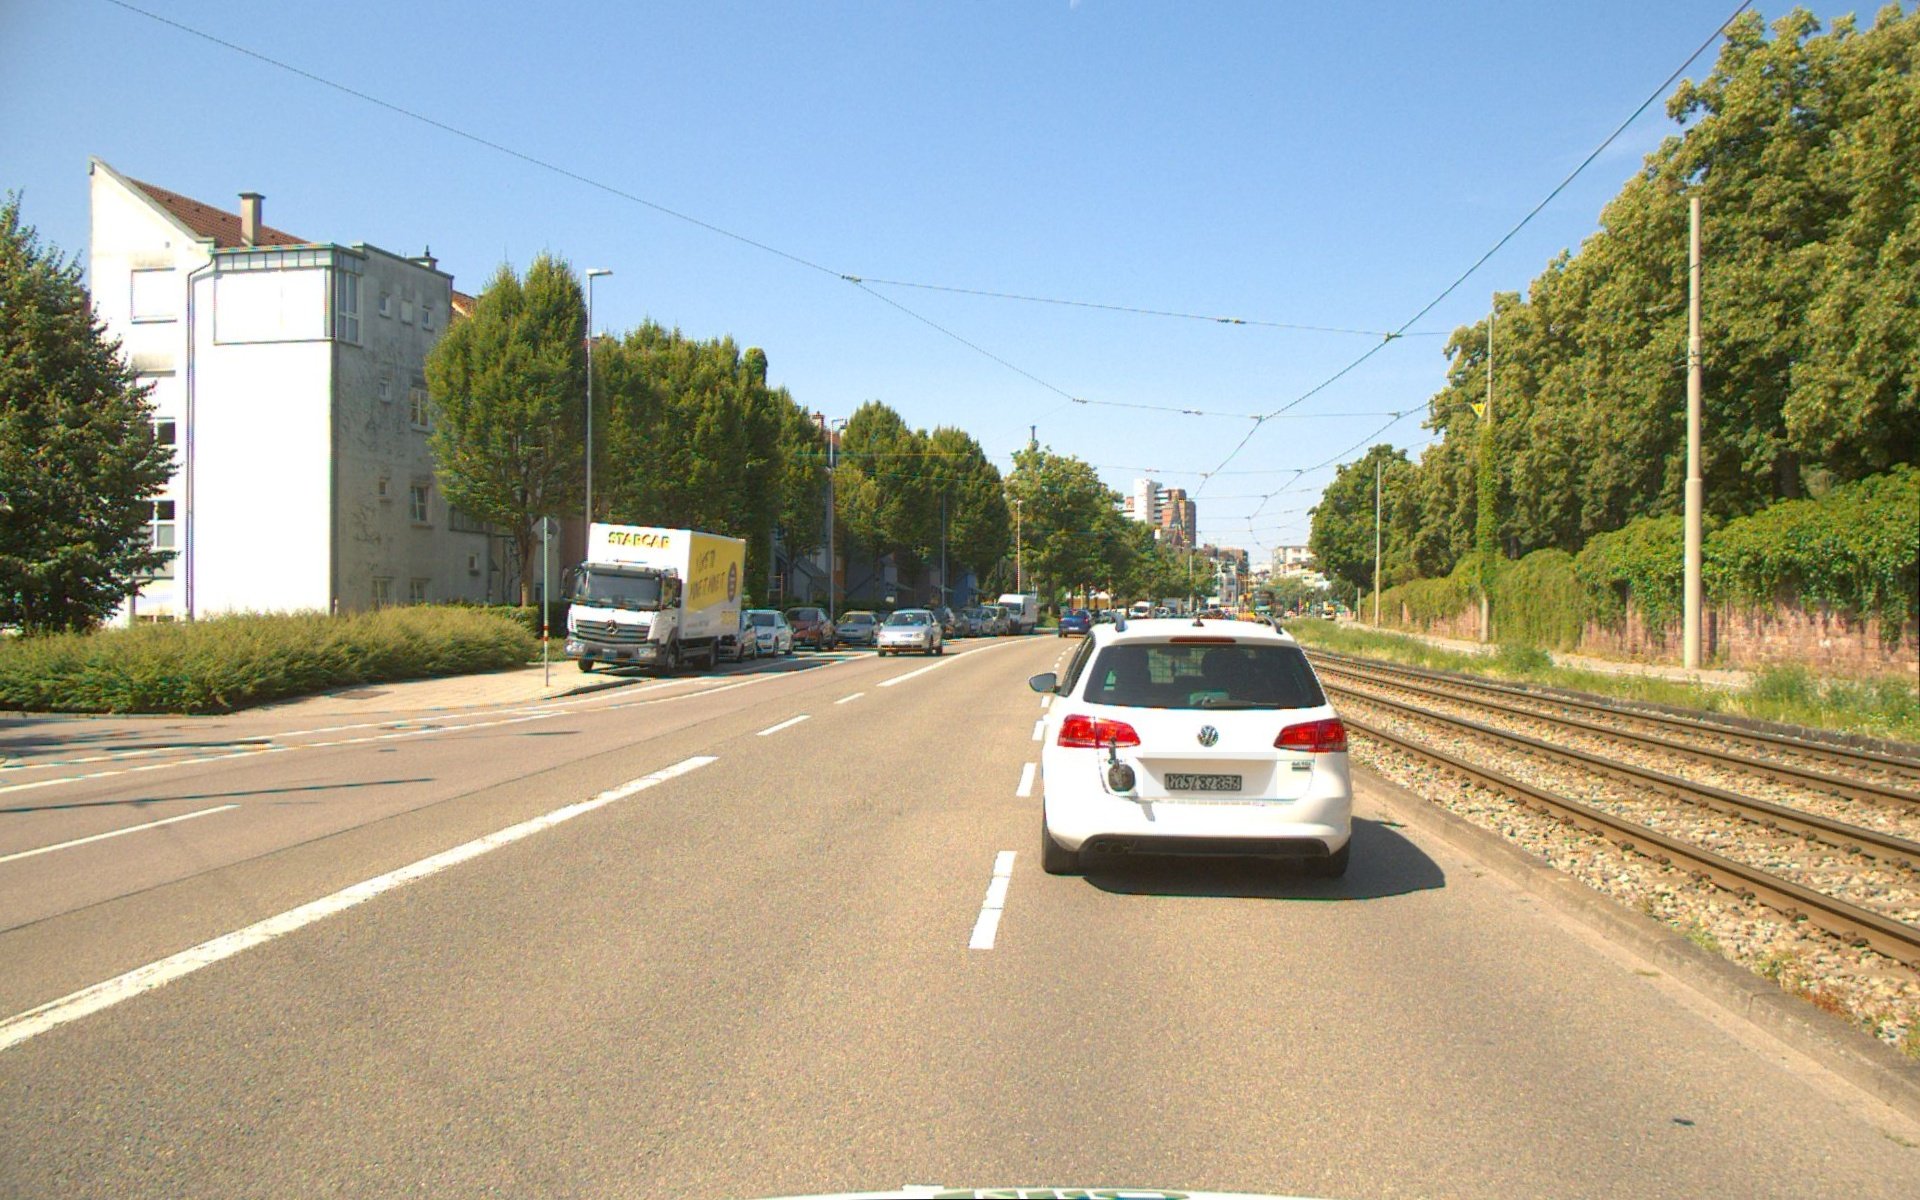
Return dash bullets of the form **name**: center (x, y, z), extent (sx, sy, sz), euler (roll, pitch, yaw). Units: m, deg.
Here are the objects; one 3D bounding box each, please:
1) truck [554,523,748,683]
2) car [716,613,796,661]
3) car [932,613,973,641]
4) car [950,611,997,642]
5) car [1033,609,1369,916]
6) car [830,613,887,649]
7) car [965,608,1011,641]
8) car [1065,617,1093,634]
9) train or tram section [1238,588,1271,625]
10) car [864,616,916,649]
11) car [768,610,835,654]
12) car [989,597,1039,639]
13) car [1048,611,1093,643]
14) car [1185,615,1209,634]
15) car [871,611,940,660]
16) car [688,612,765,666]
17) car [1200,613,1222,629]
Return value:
- **truck**: center (-7.646, 0.092, 42.262), extent (2.611, 3.592, 8.595), euler (2, 0, 5)
- **car**: center (-6.627, 1.179, 54.065), extent (1.720, 1.454, 4.284), euler (1, 0, 5)
- **car**: center (-0.413, 1.582, 96.352), extent (1.654, 1.500, 4.052), euler (3, 0, 10)
- **car**: center (0.842, 1.637, 101.368), extent (1.762, 1.754, 4.913), euler (3, 0, 13)
- **car**: center (1.321, 0.836, 10.631), extent (1.656, 1.476, 4.460), euler (1, 0, 2)
- **car**: center (-4.442, 1.353, 73.118), extent (1.743, 1.509, 4.860), euler (1, -1, 6)
- **car**: center (1.869, 1.571, 106.936), extent (1.879, 1.982, 5.358), euler (3, 0, 12)
- **car**: center (10.469, 2.253, 144.712), extent (1.663, 1.442, 4.002), euler (0, -1, 16)
- **train or tram section**: center (31.497, 0.775, 176.569), extent (2.458, 3.813, 13.320), euler (0, -1, 14)
- **car**: center (-3.350, 1.555, 79.581), extent (1.686, 1.500, 4.718), euler (2, 0, 7)
- **car**: center (-5.915, 1.181, 62.288), extent (1.694, 1.579, 4.321), euler (1, 0, 5)
- **car**: center (3.830, 1.263, 115.117), extent (1.952, 2.761, 7.162), euler (3, 0, 14)
- **car**: center (5.777, 1.406, 86.184), extent (1.762, 1.533, 4.004), euler (1, 1, 12)
- **car**: center (20.172, 2.093, 140.492), extent (1.762, 1.534, 4.003), euler (1, 0, 12)
- **car**: center (-1.701, 1.121, 53.297), extent (1.624, 1.445, 4.312), euler (-2, -1, 6)
- **car**: center (-6.935, 1.136, 49.502), extent (1.576, 1.510, 3.637), euler (2, 0, 3)
- **car**: center (23.390, 1.916, 153.986), extent (1.762, 1.486, 4.003), euler (0, -1, 12)
